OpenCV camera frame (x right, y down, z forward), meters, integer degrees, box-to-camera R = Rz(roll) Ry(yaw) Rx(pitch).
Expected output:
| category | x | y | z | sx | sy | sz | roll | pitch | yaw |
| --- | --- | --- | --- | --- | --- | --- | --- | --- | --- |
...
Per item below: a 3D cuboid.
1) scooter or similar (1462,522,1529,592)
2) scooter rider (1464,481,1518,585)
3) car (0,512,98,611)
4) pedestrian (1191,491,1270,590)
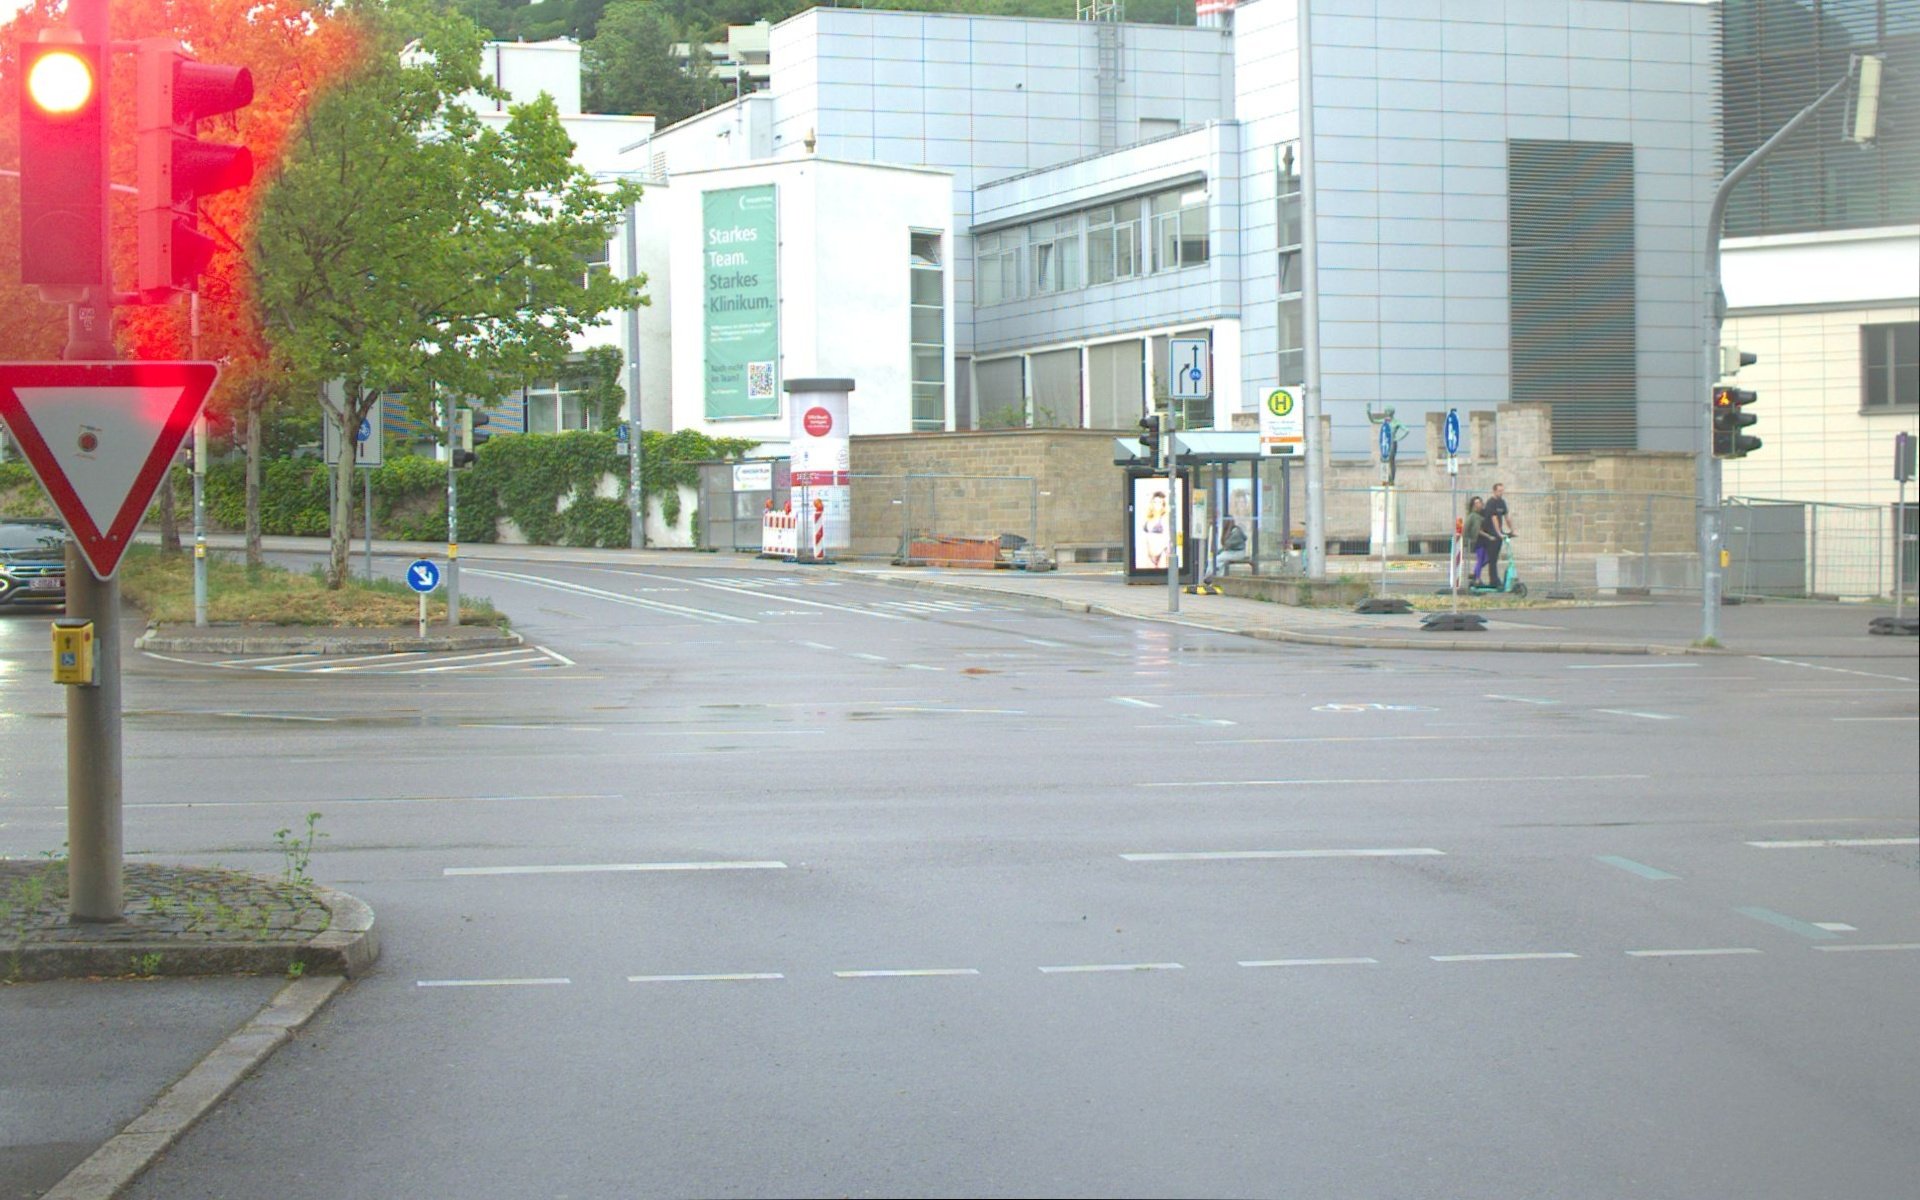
| category | x | y | z | sx | sy | sz | roll | pitch | yaw |
| --- | --- | --- | --- | --- | --- | --- | --- | --- | --- |
| scooter or similar | 9.755 | -0.779 | 62.652 | 0.591 | 1.234 | 1.314 | 1 | 0 | -22 |
| scooter rider | 9.663 | -1.212 | 62.607 | 0.723 | 1.877 | 0.632 | 1 | 0 | -20 |
| car | -15.671 | -0.682 | 57.724 | 1.788 | 1.579 | 4.001 | -1 | 2 | -22 |
| pedestrian | 4.838 | -1.058 | 61.567 | 1.257 | 1.713 | 1.016 | 1 | 0 | -2 |
